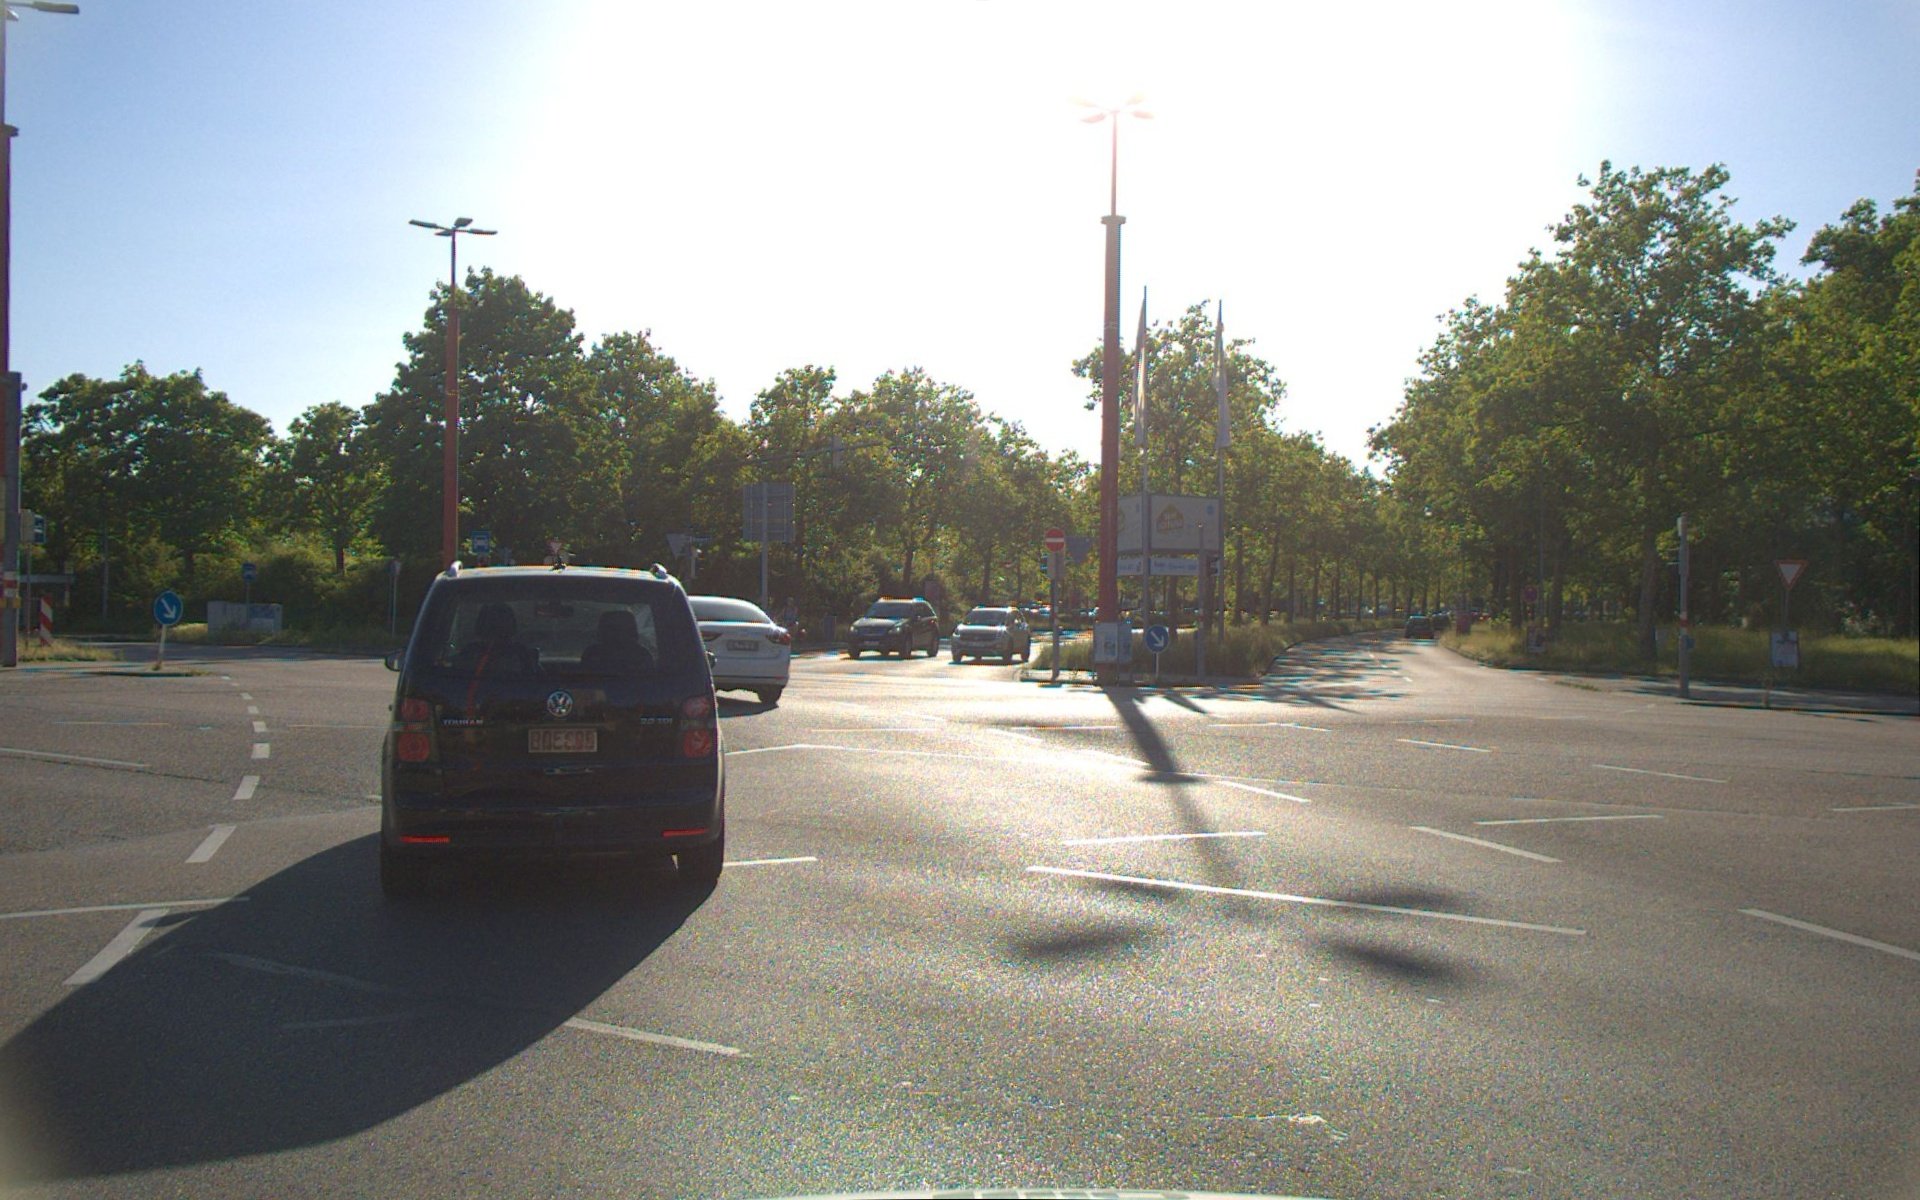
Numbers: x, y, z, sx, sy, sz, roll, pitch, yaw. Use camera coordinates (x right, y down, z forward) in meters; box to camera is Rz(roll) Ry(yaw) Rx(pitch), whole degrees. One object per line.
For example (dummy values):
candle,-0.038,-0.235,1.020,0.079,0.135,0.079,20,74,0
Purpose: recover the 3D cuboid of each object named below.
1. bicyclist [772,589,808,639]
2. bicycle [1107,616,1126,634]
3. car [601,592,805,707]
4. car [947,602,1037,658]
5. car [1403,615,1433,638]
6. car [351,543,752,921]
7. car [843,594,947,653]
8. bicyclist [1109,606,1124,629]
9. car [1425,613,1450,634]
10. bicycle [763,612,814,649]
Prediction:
bicyclist,-5.426,0.431,52.801,0.743,1.585,0.981,0,0,23
bicycle,9.887,1.557,104.699,0.720,1.110,2.016,0,0,20
car,-3.842,0.653,24.117,1.746,1.489,4.330,1,0,-26
car,0.989,0.866,49.110,1.730,1.565,4.094,1,0,15
car,30.405,1.744,109.795,1.752,1.412,4.053,2,0,14
car,-2.257,0.586,9.893,1.735,1.673,4.911,1,0,-10
car,-1.972,0.704,51.728,1.862,1.757,4.656,1,0,16
bicyclist,9.879,1.085,104.675,0.720,1.462,0.966,0,0,20
car,40.573,2.030,140.536,1.832,1.655,4.003,2,-1,13
bicycle,-5.457,0.962,52.727,0.748,1.110,2.015,0,1,23
